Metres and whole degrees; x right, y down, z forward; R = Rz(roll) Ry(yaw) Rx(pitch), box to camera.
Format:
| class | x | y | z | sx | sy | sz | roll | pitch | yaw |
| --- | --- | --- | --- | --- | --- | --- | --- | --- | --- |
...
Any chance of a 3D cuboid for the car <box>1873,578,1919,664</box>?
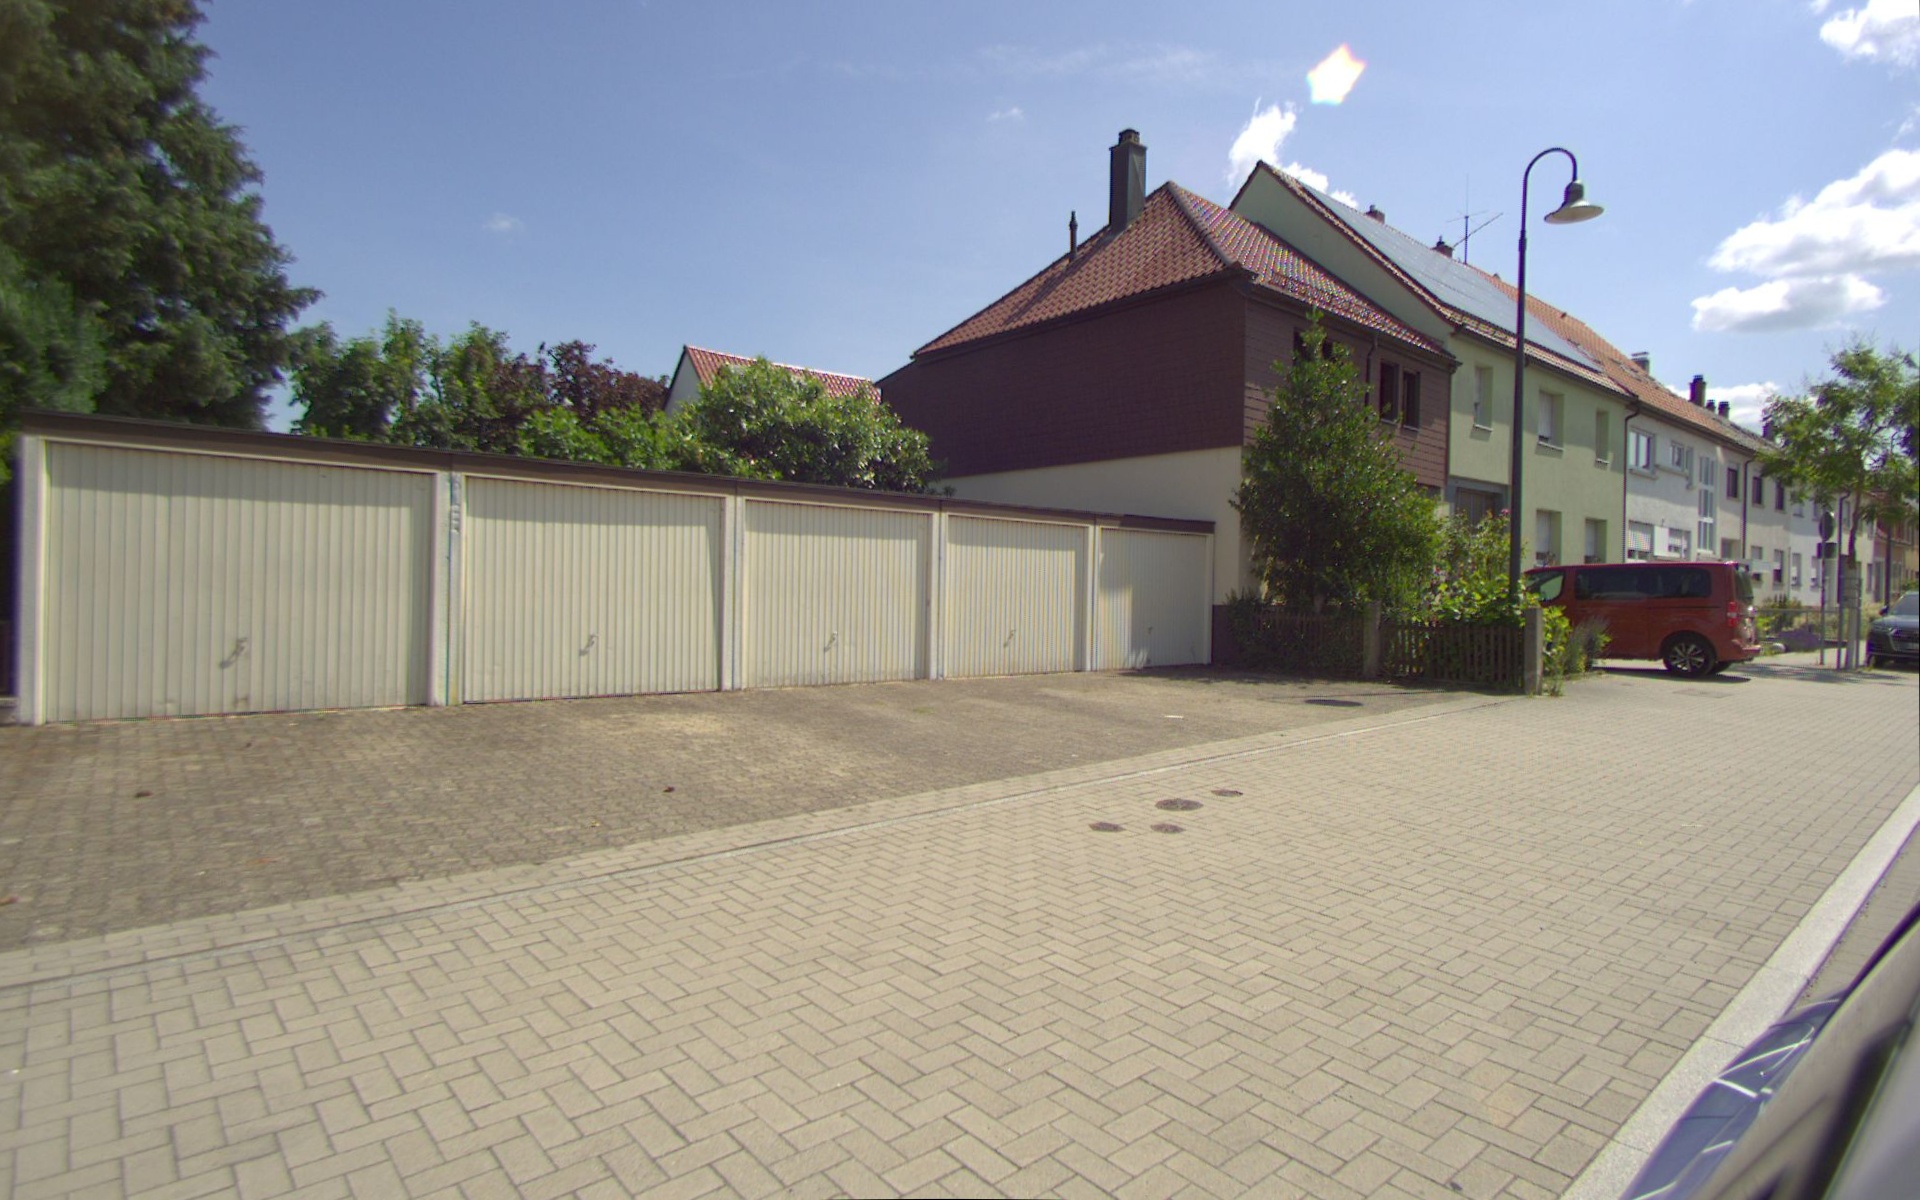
| class | x | y | z | sx | sy | sz | roll | pitch | yaw |
| --- | --- | --- | --- | --- | --- | --- | --- | --- | --- |
| car | 20.776 | 0.461 | 21.071 | 4.365 | 1.655 | 1.870 | 1 | 3 | -39 |

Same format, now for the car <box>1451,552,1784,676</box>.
| class | x | y | z | sx | sy | sz | roll | pitch | yaw |
| --- | --- | --- | --- | --- | --- | --- | --- | --- | --- |
| car | 11.535 | 0.184 | 18.018 | 1.986 | 1.917 | 4.626 | -1 | 1 | -41 |
